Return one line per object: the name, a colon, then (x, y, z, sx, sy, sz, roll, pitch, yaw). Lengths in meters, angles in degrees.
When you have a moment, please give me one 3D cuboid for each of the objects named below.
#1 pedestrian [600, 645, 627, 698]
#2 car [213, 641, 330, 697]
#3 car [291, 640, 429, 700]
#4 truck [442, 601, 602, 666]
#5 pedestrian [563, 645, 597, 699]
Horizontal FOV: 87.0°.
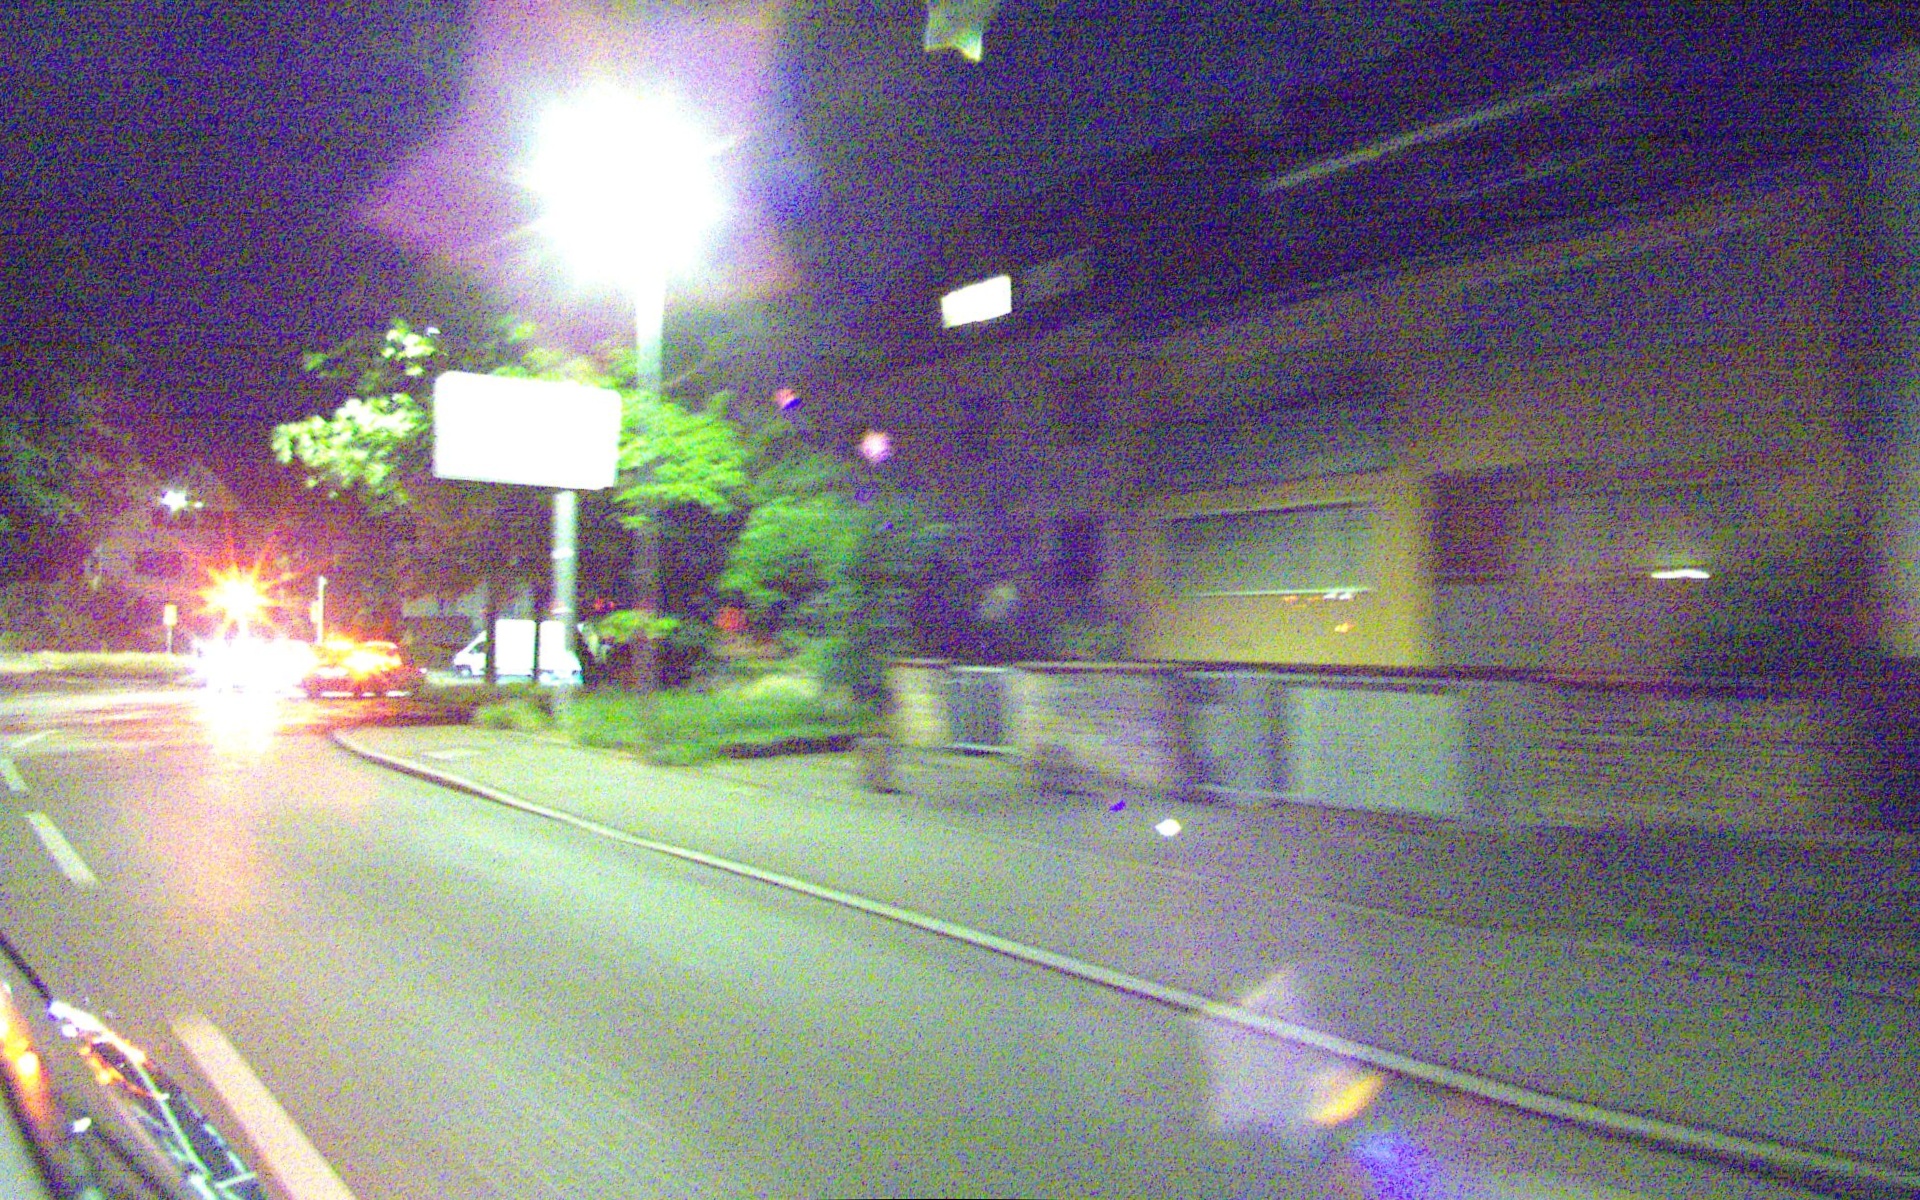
pedestrian: (-12.047, 2.488, 35.191, 0.519, 1.806, 0.689, 0, -4, 17)
car: (-19.910, 2.006, 29.399, 1.491, 1.513, 3.053, 1, -4, -6)
car: (-15.587, 1.878, 26.557, 1.703, 1.441, 4.298, 1, -5, -10)
truck: (-22.273, 1.688, 51.750, 6.934, 3.067, 2.774, 1, 0, -2)
pedestrian: (-12.912, 2.454, 34.410, 0.719, 1.783, 0.964, 1, -4, 2)
